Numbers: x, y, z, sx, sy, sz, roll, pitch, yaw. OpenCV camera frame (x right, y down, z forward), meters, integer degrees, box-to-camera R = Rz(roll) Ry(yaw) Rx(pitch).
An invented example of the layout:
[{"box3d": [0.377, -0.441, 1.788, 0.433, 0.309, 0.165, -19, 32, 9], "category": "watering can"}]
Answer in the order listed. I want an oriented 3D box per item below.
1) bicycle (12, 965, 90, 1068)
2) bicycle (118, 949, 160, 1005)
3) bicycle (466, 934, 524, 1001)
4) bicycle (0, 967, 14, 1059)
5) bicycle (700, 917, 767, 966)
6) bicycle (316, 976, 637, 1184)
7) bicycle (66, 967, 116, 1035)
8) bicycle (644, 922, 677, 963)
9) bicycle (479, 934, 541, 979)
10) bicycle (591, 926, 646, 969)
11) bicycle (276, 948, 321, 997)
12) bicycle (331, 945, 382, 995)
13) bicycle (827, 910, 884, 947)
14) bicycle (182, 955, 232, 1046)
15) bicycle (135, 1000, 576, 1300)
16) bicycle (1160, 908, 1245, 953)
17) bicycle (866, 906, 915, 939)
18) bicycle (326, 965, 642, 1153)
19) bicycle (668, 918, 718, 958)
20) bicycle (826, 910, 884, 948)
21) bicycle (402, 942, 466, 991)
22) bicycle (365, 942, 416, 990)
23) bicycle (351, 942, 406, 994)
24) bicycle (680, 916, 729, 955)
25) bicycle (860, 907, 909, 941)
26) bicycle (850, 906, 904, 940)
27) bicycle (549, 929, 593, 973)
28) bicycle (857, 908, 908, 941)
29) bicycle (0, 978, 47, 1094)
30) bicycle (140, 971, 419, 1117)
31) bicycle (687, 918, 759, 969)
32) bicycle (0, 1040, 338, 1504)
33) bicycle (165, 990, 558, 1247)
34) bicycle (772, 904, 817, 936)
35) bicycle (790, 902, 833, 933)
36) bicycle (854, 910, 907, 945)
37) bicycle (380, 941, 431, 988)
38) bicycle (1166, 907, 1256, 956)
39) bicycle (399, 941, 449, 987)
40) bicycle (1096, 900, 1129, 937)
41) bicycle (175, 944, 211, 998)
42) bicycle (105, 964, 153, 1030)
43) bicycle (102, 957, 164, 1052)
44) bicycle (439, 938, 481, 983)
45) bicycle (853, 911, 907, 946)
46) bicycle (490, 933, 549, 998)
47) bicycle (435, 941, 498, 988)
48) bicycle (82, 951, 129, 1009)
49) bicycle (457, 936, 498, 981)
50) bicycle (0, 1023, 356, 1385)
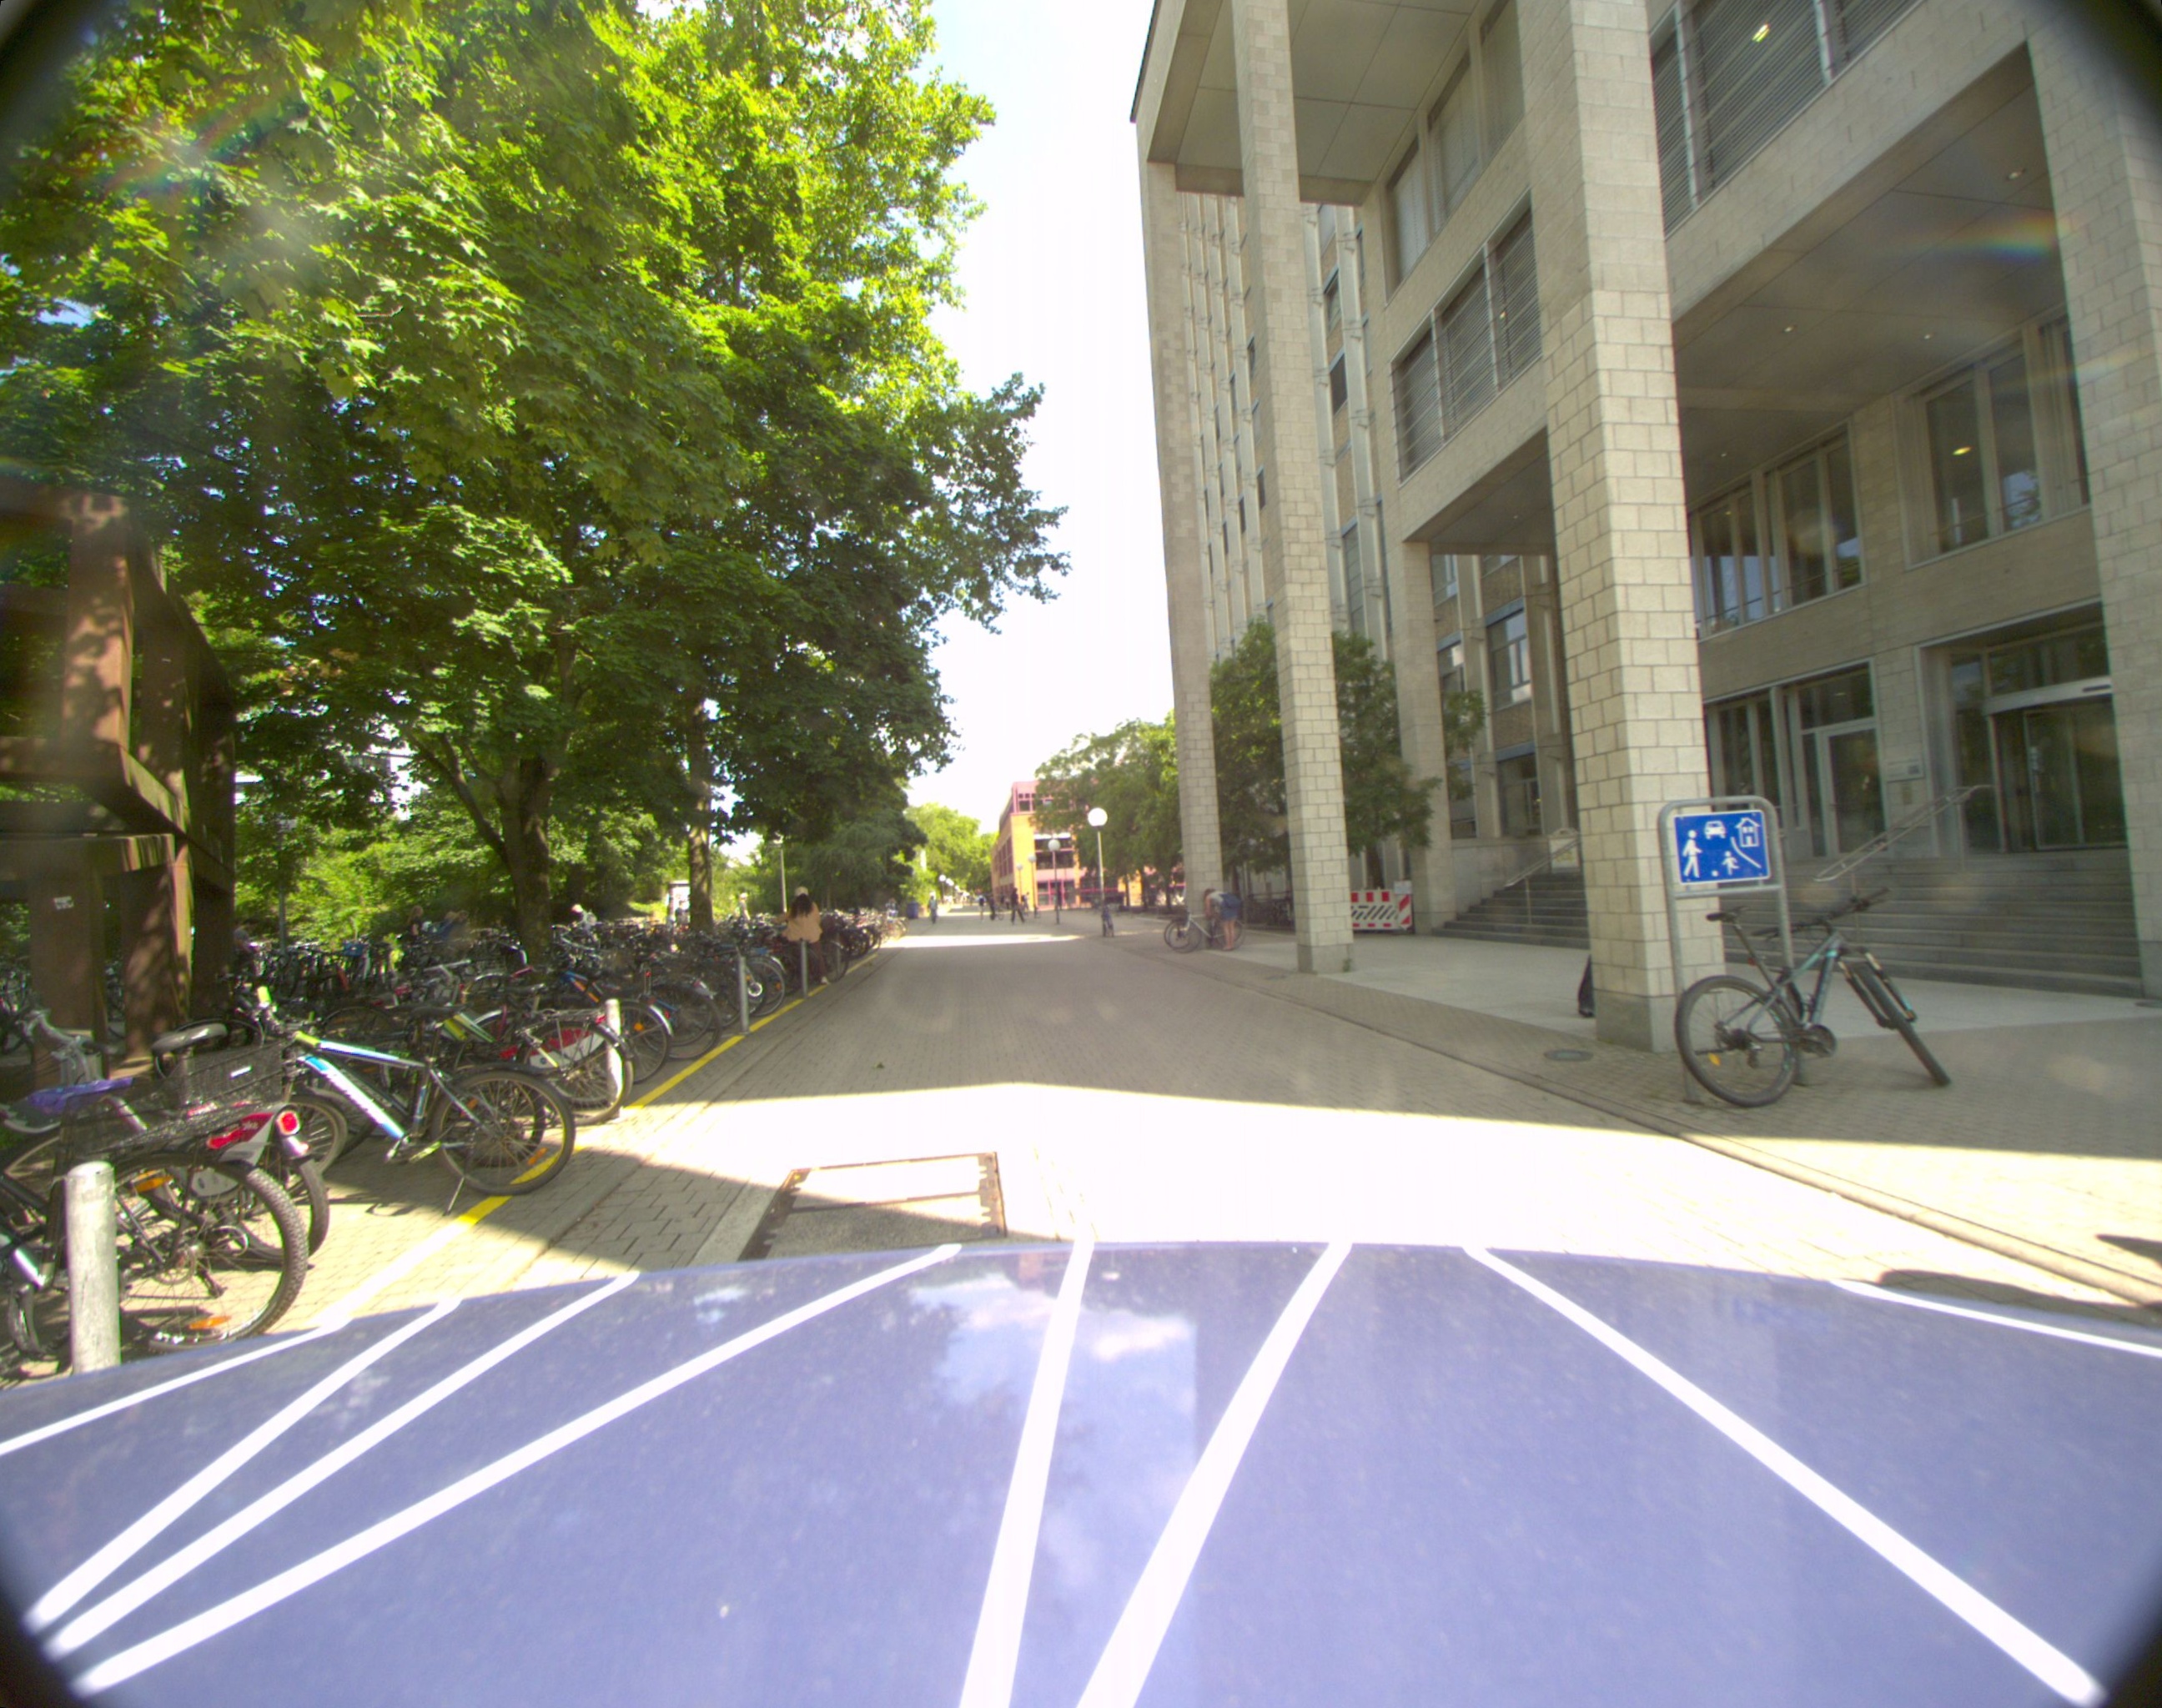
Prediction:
[{"box3d": [-13.952, 2.152, 10.317, 1.840, 1.163, 0.414, -4, -2, 43], "category": "bicycle"}, {"box3d": [-18.736, 2.425, 15.129, 1.592, 0.973, 0.405, -4, -1, 42], "category": "bicycle"}, {"box3d": [-11.028, 2.094, 14.275, 1.840, 1.163, 0.346, -4, -2, 37], "category": "bicycle"}, {"box3d": [-14.289, 2.106, 9.786, 1.840, 1.163, 0.389, -4, -2, 43], "category": "bicycle"}, {"box3d": [-8.737, 2.195, 19.162, 1.473, 1.077, 0.352, -3, -2, -21], "category": "bicycle"}, {"box3d": [-3.659, 1.351, 4.675, 1.514, 1.079, 0.482, -2, 0, -3], "category": "bicycle"}, {"box3d": [-17.245, 2.532, 13.255, 1.899, 0.973, 0.479, -4, -1, 38], "category": "bicycle"}, {"box3d": [-11.645, 2.458, 21.011, 0.455, 1.076, 1.469, 1, -6, -43], "category": "bicycle"}, {"box3d": [-13.562, 2.418, 18.043, 1.899, 0.973, 0.479, -4, -1, 32], "category": "bicycle"}, {"box3d": [-12.130, 2.453, 19.910, 1.468, 1.076, 0.480, -5, -5, 24], "category": "bicycle"}, {"box3d": [-17.488, 2.626, 16.971, 1.797, 0.973, 0.379, -4, -1, 35], "category": "bicycle"}, {"box3d": [-16.645, 2.677, 17.452, 1.468, 1.076, 0.353, -5, -5, 26], "category": "bicycle"}, {"box3d": [-7.197, 2.376, 24.286, 1.689, 1.076, 0.529, -2, -4, -14], "category": "bicycle"}, {"box3d": [-13.015, 2.131, 11.331, 1.840, 1.163, 0.414, -4, -2, 43], "category": "bicycle"}, {"box3d": [-3.270, 1.305, 3.536, 1.441, 1.079, 0.460, -2, 0, -11], "category": "bicycle"}, {"box3d": [2.671, 1.679, 16.748, 1.774, 0.894, 0.449, -3, -2, 10], "category": "bicycle"}, {"box3d": [-7.098, 2.545, 28.350, 1.689, 1.143, 0.551, -2, -4, -14], "category": "bicycle"}, {"box3d": [-4.004, 1.361, 5.171, 1.695, 1.079, 0.482, -2, 0, -3], "category": "bicycle"}, {"box3d": [-11.219, 2.418, 21.960, 1.469, 1.076, 0.353, -4, -4, 19], "category": "bicycle"}, {"box3d": [-7.027, 2.332, 23.664, 1.689, 1.076, 0.478, -2, -4, -14], "category": "bicycle"}, {"box3d": [-14.309, 2.460, 16.779, 1.899, 0.973, 0.479, -4, -1, 32], "category": "bicycle"}, {"box3d": [-16.353, 2.660, 17.990, 1.468, 1.076, 0.353, -5, -4, 25], "category": "bicycle"}, {"box3d": [-14.752, 2.370, 15.946, 1.899, 0.973, 0.479, -4, -1, 37], "category": "bicycle"}, {"box3d": [-11.086, 2.408, 22.336, 1.469, 1.076, 0.353, -4, -4, 19], "category": "bicycle"}, {"box3d": [-7.151, 2.554, 27.721, 1.689, 1.143, 0.551, -2, -4, -14], "category": "bicycle"}, {"box3d": [-7.044, 2.384, 26.210, 1.687, 1.076, 0.529, -3, -4, 2], "category": "bicycle"}, {"box3d": [-12.712, 2.379, 18.906, 1.899, 0.973, 0.479, -4, -1, 44], "category": "bicycle"}, {"box3d": [-7.030, 2.508, 26.962, 1.689, 1.076, 0.529, -2, -4, -14], "category": "bicycle"}, {"box3d": [-11.344, 1.867, 7.245, 0.474, 1.103, 1.673, -5, -2, 45], "category": "bicycle"}, {"box3d": [-6.763, 1.594, 6.455, 1.826, 1.071, 0.464, -2, 0, -1], "category": "bicycle"}, {"box3d": [-8.573, 2.142, 18.230, 1.472, 1.077, 0.352, -3, -2, -12], "category": "bicycle"}, {"box3d": [-3.381, 1.254, 2.327, 1.490, 1.134, 0.561, -2, 0, -11], "category": "bicycle"}, {"box3d": [-3.662, 1.323, 3.955, 1.474, 1.079, 0.460, -2, 0, -7], "category": "bicycle"}, {"box3d": [-10.336, 2.383, 27.389, 1.684, 1.076, 0.480, -5, -5, 28], "category": "bicycle"}, {"box3d": [-9.999, 2.361, 28.146, 1.684, 1.076, 0.480, -5, -5, 28], "category": "bicycle"}, {"box3d": [-6.723, 2.451, 25.539, 1.689, 1.076, 0.529, -2, -4, -14], "category": "bicycle"}, {"box3d": [-16.338, 2.688, 18.380, 1.468, 1.076, 0.353, -5, -4, 25], "category": "bicycle"}, {"box3d": [2.711, 1.618, 15.911, 1.776, 0.894, 0.337, -4, -2, -3], "category": "bicycle"}, {"box3d": [-16.187, 2.710, 18.705, 1.468, 1.076, 0.353, -5, -4, 25], "category": "bicycle"}, {"box3d": [0.958, 1.981, 23.596, 0.570, 1.096, 1.833, -2, -3, -10], "category": "bicycle"}, {"box3d": [-18.424, 2.406, 15.781, 1.592, 0.973, 0.405, -4, -1, 42], "category": "bicycle"}, {"box3d": [-16.999, 2.521, 13.561, 1.899, 0.973, 0.479, -4, -1, 38], "category": "bicycle"}, {"box3d": [-13.643, 2.125, 10.958, 1.840, 1.163, 0.414, -4, -2, 43], "category": "bicycle"}, {"box3d": [-15.612, 2.683, 19.100, 1.468, 1.076, 0.353, -6, -5, 32], "category": "bicycle"}, {"box3d": [-6.603, 2.446, 25.018, 1.689, 1.076, 0.529, -2, -4, -14], "category": "bicycle"}, {"box3d": [-10.708, 2.093, 14.473, 1.840, 1.163, 0.346, -4, -2, 37], "category": "bicycle"}, {"box3d": [-14.060, 2.497, 17.364, 1.899, 0.973, 0.479, -4, -1, 32], "category": "bicycle"}, {"box3d": [-19.017, 2.439, 14.830, 1.592, 0.973, 0.405, -4, -1, 42], "category": "bicycle"}, {"box3d": [-15.426, 2.673, 19.406, 1.468, 1.076, 0.353, -6, -5, 32], "category": "bicycle"}, {"box3d": [-3.785, 1.295, 3.012, 1.524, 1.134, 0.492, -2, 0, 10], "category": "bicycle"}]
